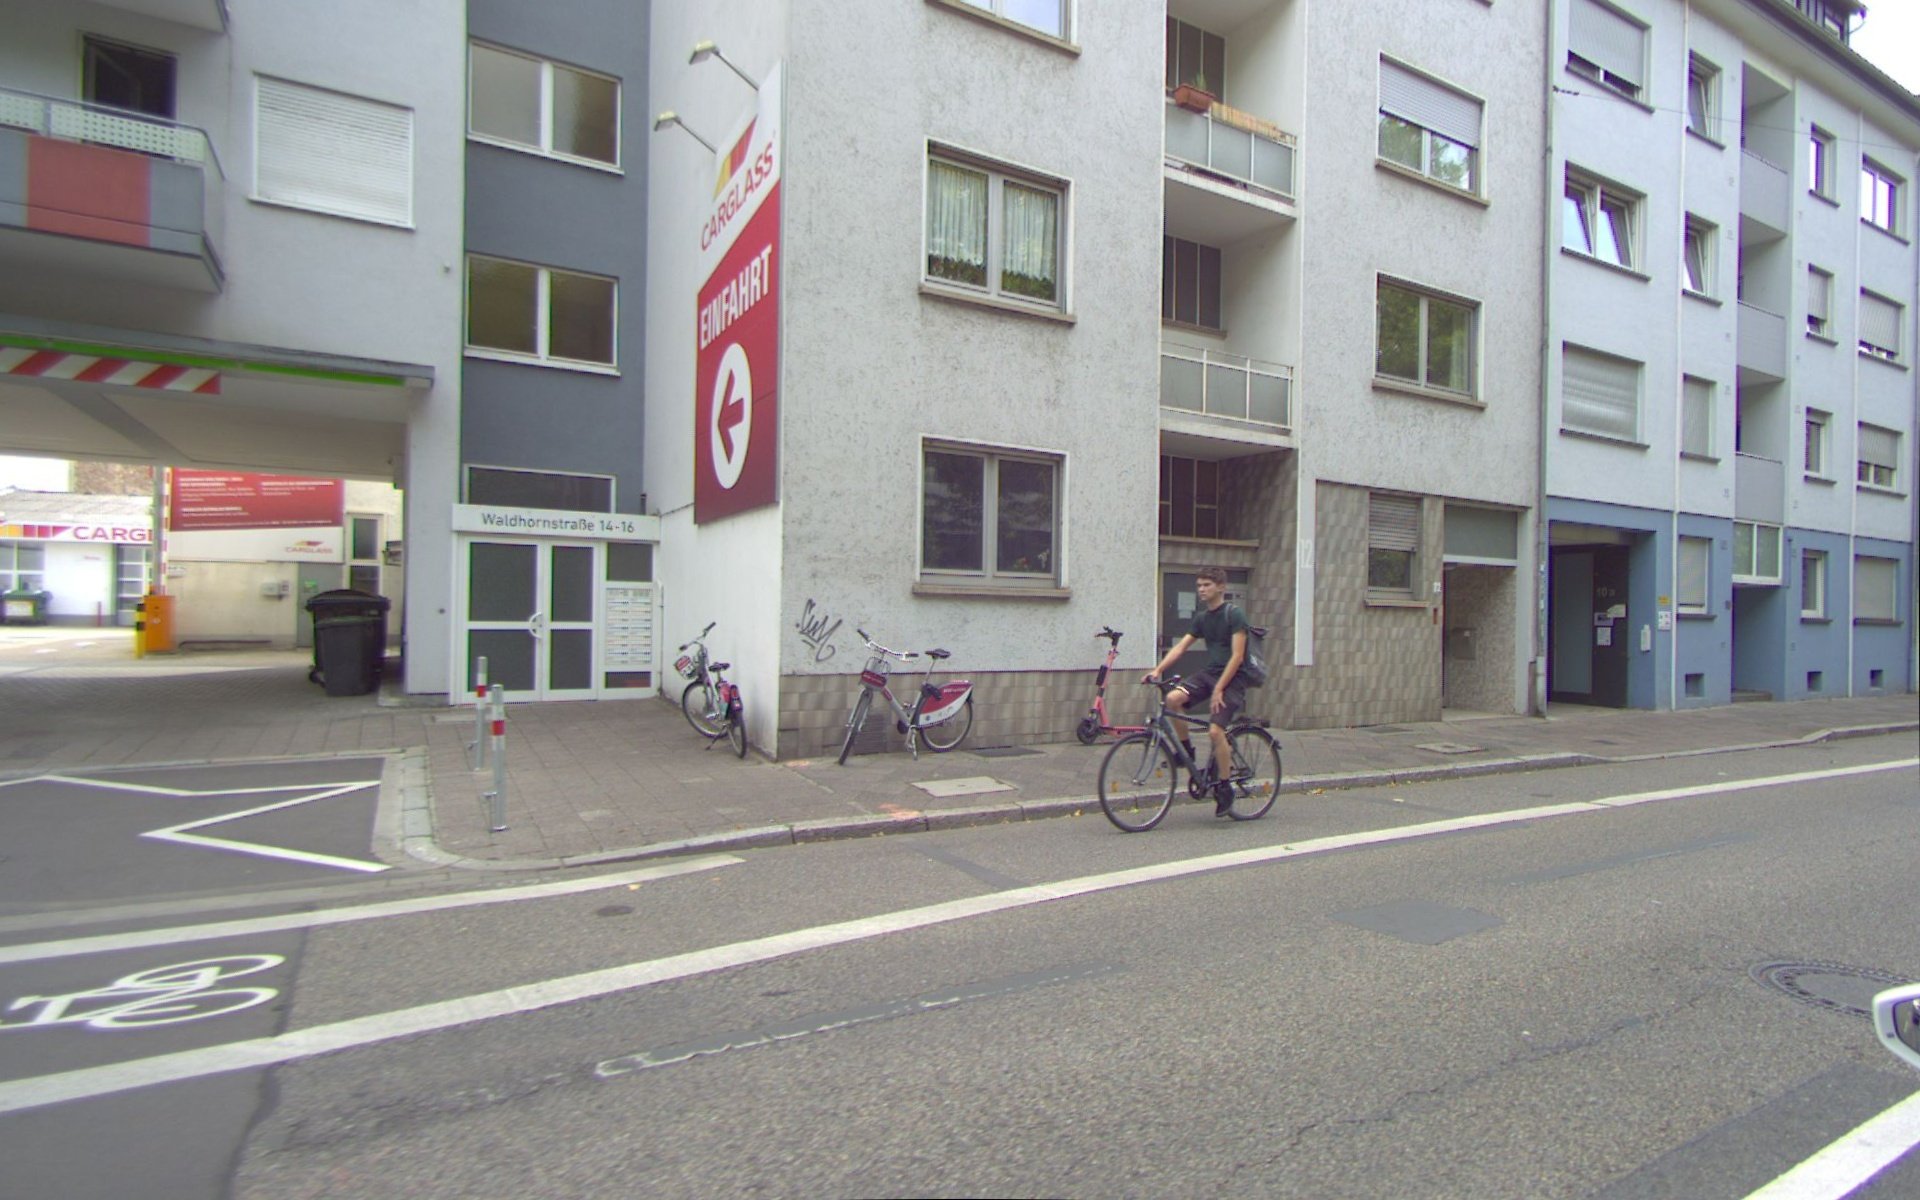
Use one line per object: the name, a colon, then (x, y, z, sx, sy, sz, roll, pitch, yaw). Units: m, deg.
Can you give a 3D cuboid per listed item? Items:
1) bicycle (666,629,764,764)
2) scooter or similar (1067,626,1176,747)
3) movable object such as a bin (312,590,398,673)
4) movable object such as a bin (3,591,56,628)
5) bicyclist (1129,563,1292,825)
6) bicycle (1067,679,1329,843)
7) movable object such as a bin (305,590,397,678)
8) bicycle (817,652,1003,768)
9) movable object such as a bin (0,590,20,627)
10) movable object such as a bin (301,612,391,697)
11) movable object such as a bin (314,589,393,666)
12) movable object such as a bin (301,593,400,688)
bicycle: (-2.415, 0.882, 9.778, 0.447, 1.132, 1.763, 1, 0, -29)
scooter or similar: (1.761, 0.916, 10.898, 1.188, 1.238, 0.348, 1, 0, -30)
movable object such as a bin: (-10.405, 0.530, 17.319, 1.162, 1.370, 1.039, 1, -1, -27)
movable object such as a bin: (-37.692, 0.375, 40.692, 1.146, 1.462, 1.244, 1, 0, -19)
bicyclist: (1.898, 0.680, 7.613, 1.033, 1.834, 0.649, 2, -2, -30)
bicycle: (1.824, 1.145, 7.563, 2.053, 1.028, 0.643, 1, -1, -31)
movable object such as a bin: (-9.823, 0.544, 16.262, 1.162, 1.370, 1.039, 1, -1, -27)
bicycle: (-0.452, 0.990, 9.376, 1.643, 0.963, 0.594, 1, 0, -30)
movable object such as a bin: (-38.824, 0.338, 40.335, 1.146, 1.462, 1.244, 1, 0, -19)
movable object such as a bin: (-8.433, 0.727, 13.843, 0.962, 1.121, 0.941, 1, -1, -27)
movable object such as a bin: (-11.214, 0.511, 18.619, 1.162, 1.370, 1.039, 1, -1, -27)
movable object such as a bin: (-9.173, 0.598, 15.176, 1.162, 1.370, 1.039, 1, -1, -27)
